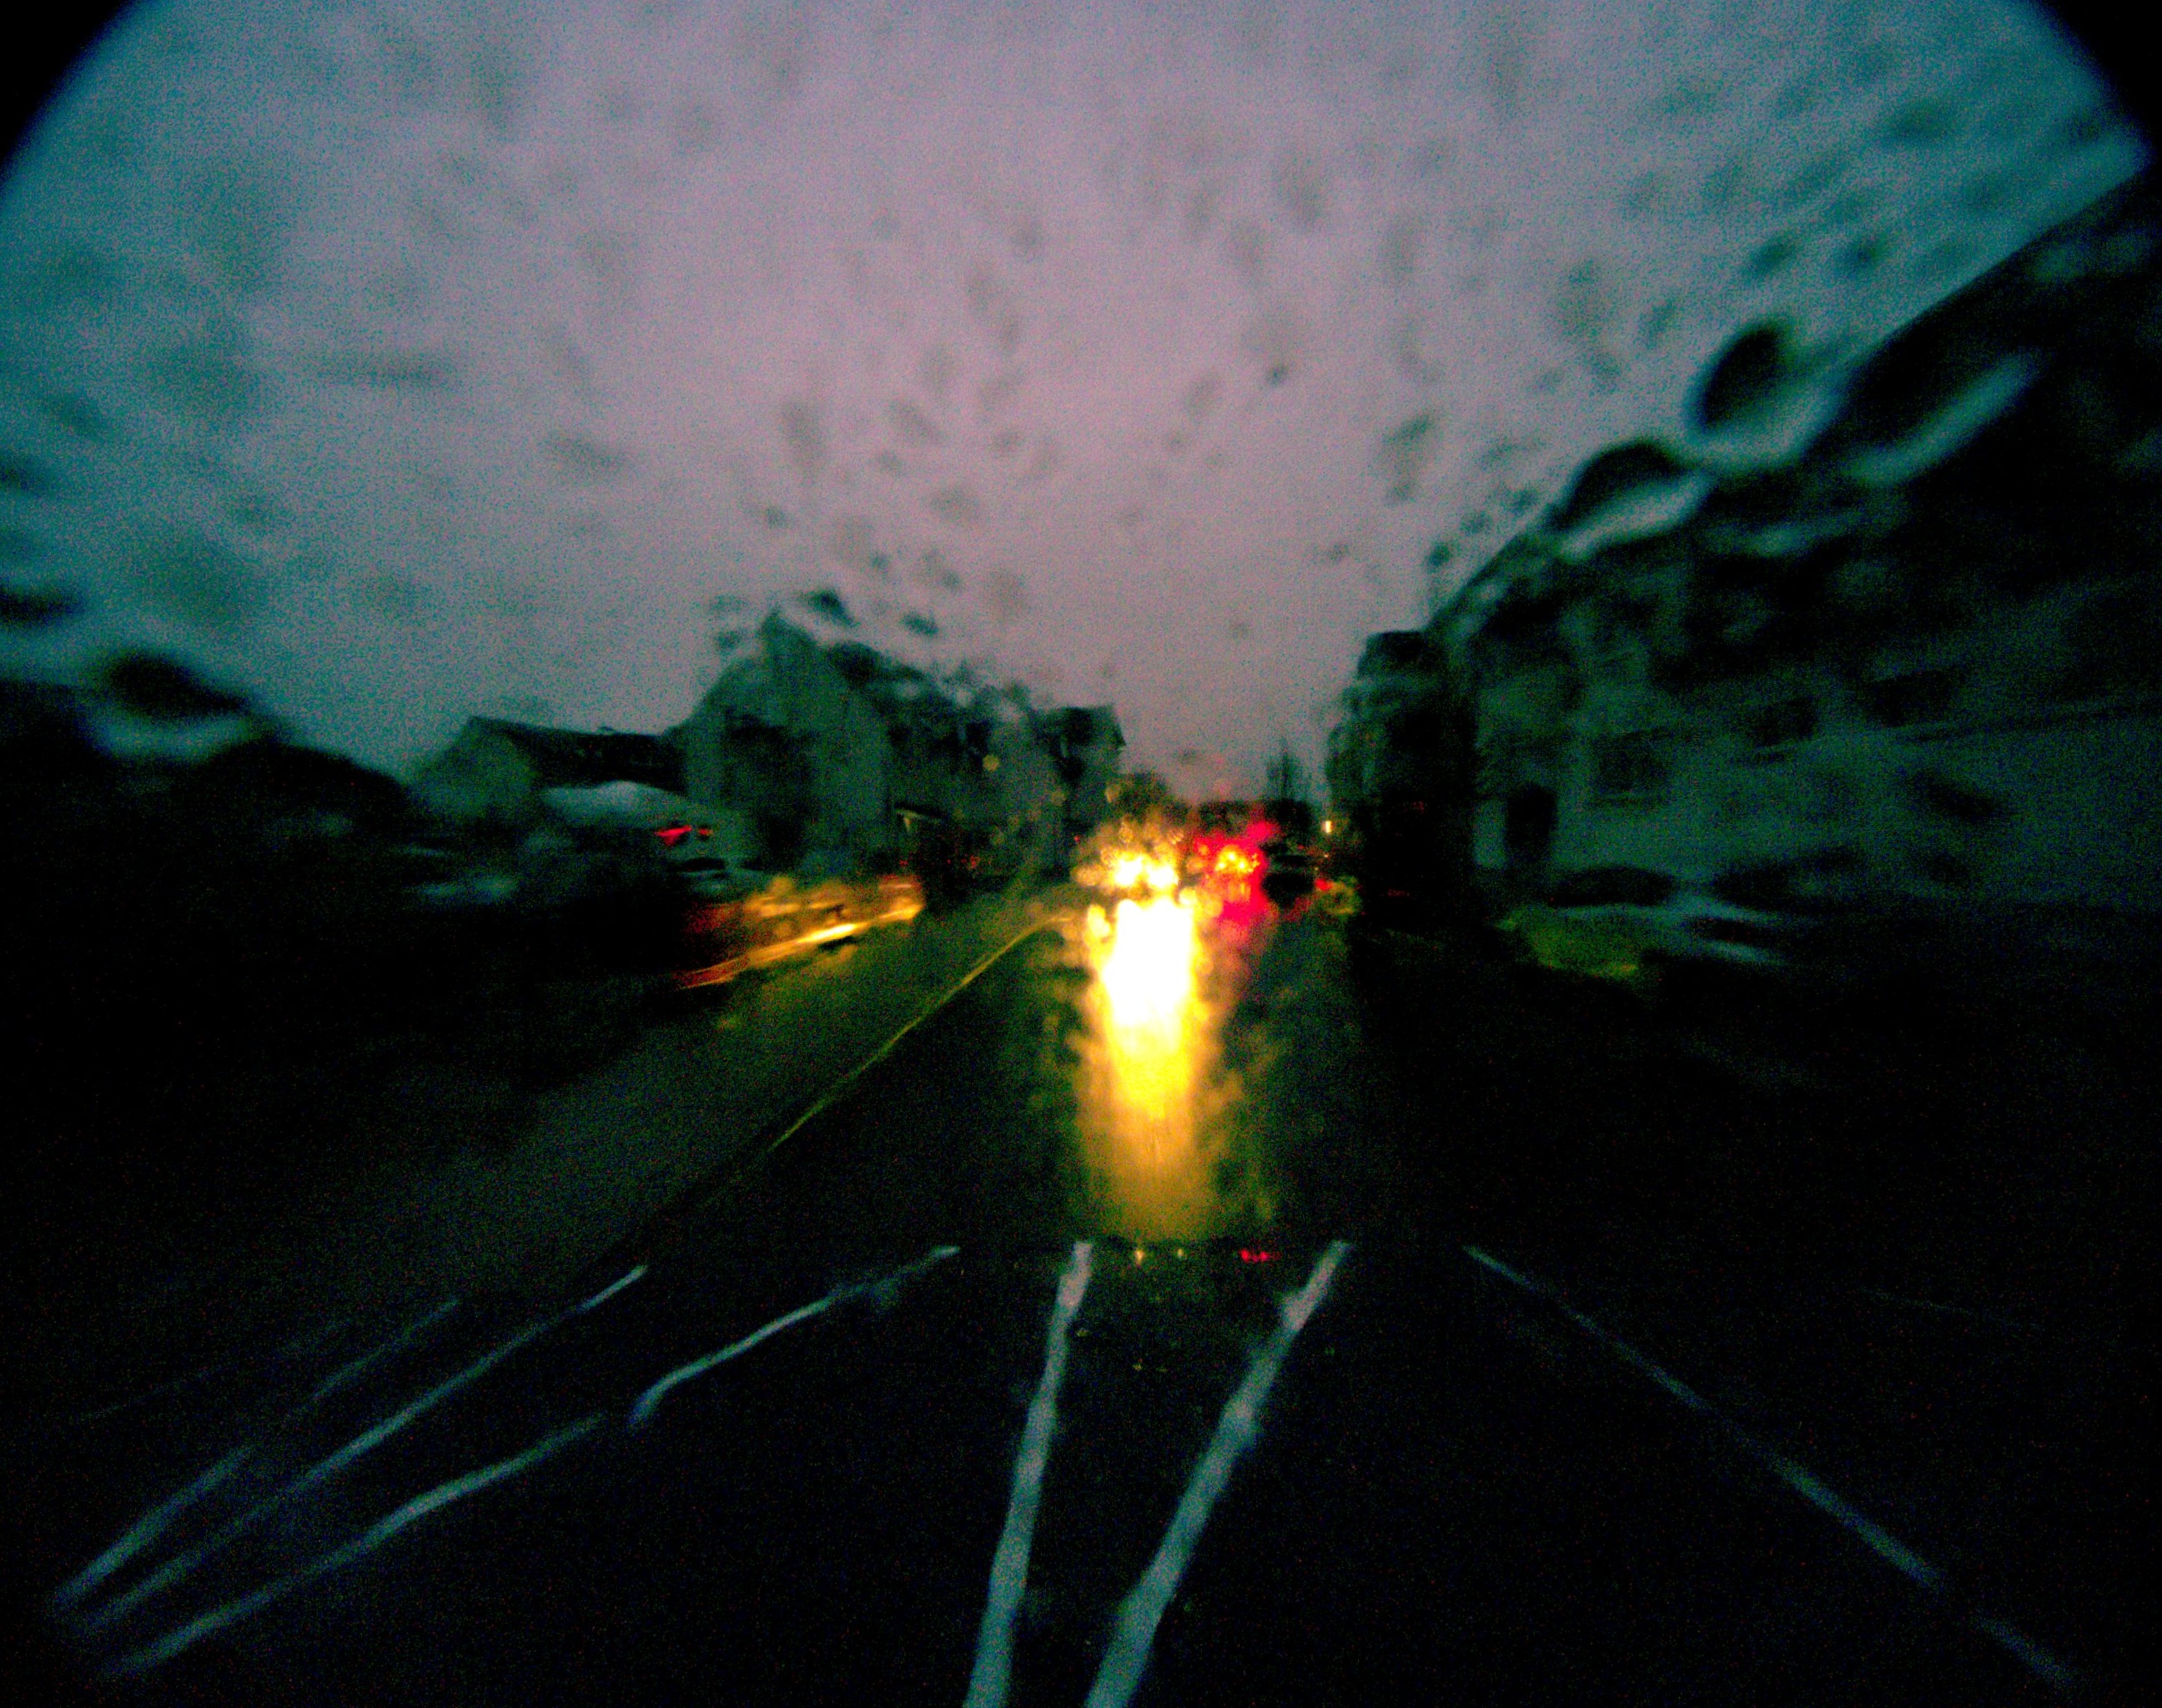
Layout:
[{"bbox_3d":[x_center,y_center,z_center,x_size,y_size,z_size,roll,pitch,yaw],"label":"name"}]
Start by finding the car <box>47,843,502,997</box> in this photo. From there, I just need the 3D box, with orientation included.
[{"bbox_3d":[-9.082,0.688,9.103,1.667,1.425,3.681,2,-2,-5],"label":"car"}]

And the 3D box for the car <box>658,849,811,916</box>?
[{"bbox_3d":[-9.064,0.684,20.307,1.784,1.533,4.245,3,0,5],"label":"car"}]

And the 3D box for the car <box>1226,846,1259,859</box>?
[{"bbox_3d":[22.167,-0.264,104.487,3.988,1.637,1.865,2,0,31],"label":"car"}]

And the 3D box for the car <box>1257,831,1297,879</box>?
[{"bbox_3d":[11.816,0.049,45.635,2.044,2.644,4.215,-3,0,16],"label":"car"}]

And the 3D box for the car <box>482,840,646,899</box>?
[{"bbox_3d":[-14.960,0.419,22.302,1.798,1.501,4.002,3,0,5],"label":"car"}]

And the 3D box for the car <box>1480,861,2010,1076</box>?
[{"bbox_3d":[5.953,0.865,7.711,1.798,1.448,4.396,-2,0,6],"label":"car"}]

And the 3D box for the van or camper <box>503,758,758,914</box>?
[{"bbox_3d":[-11.926,-0.419,21.106,2.437,3.489,7.124,3,0,3],"label":"van or camper"}]

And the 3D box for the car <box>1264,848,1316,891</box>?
[{"bbox_3d":[8.986,0.631,32.829,1.937,1.660,4.346,-3,0,14],"label":"car"}]

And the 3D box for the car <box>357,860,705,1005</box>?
[{"bbox_3d":[-6.390,0.839,9.443,1.786,1.398,3.753,2,-2,-5],"label":"car"}]

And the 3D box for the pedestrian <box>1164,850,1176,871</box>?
[{"bbox_3d":[7.365,0.523,62.823,0.651,1.651,0.648,2,1,-41],"label":"pedestrian"}]

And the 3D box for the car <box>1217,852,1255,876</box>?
[{"bbox_3d":[10.401,0.663,50.854,1.996,1.491,4.005,0,0,19],"label":"car"}]

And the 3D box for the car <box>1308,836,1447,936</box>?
[{"bbox_3d":[6.460,0.642,17.145,1.883,1.889,4.838,-2,-1,9],"label":"car"}]

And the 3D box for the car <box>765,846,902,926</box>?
[{"bbox_3d":[-6.136,0.728,19.398,1.784,1.811,4.245,0,0,5],"label":"car"}]

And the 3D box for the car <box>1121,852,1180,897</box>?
[{"bbox_3d":[2.786,0.742,29.771,1.877,1.622,4.003,-1,0,11],"label":"car"}]
